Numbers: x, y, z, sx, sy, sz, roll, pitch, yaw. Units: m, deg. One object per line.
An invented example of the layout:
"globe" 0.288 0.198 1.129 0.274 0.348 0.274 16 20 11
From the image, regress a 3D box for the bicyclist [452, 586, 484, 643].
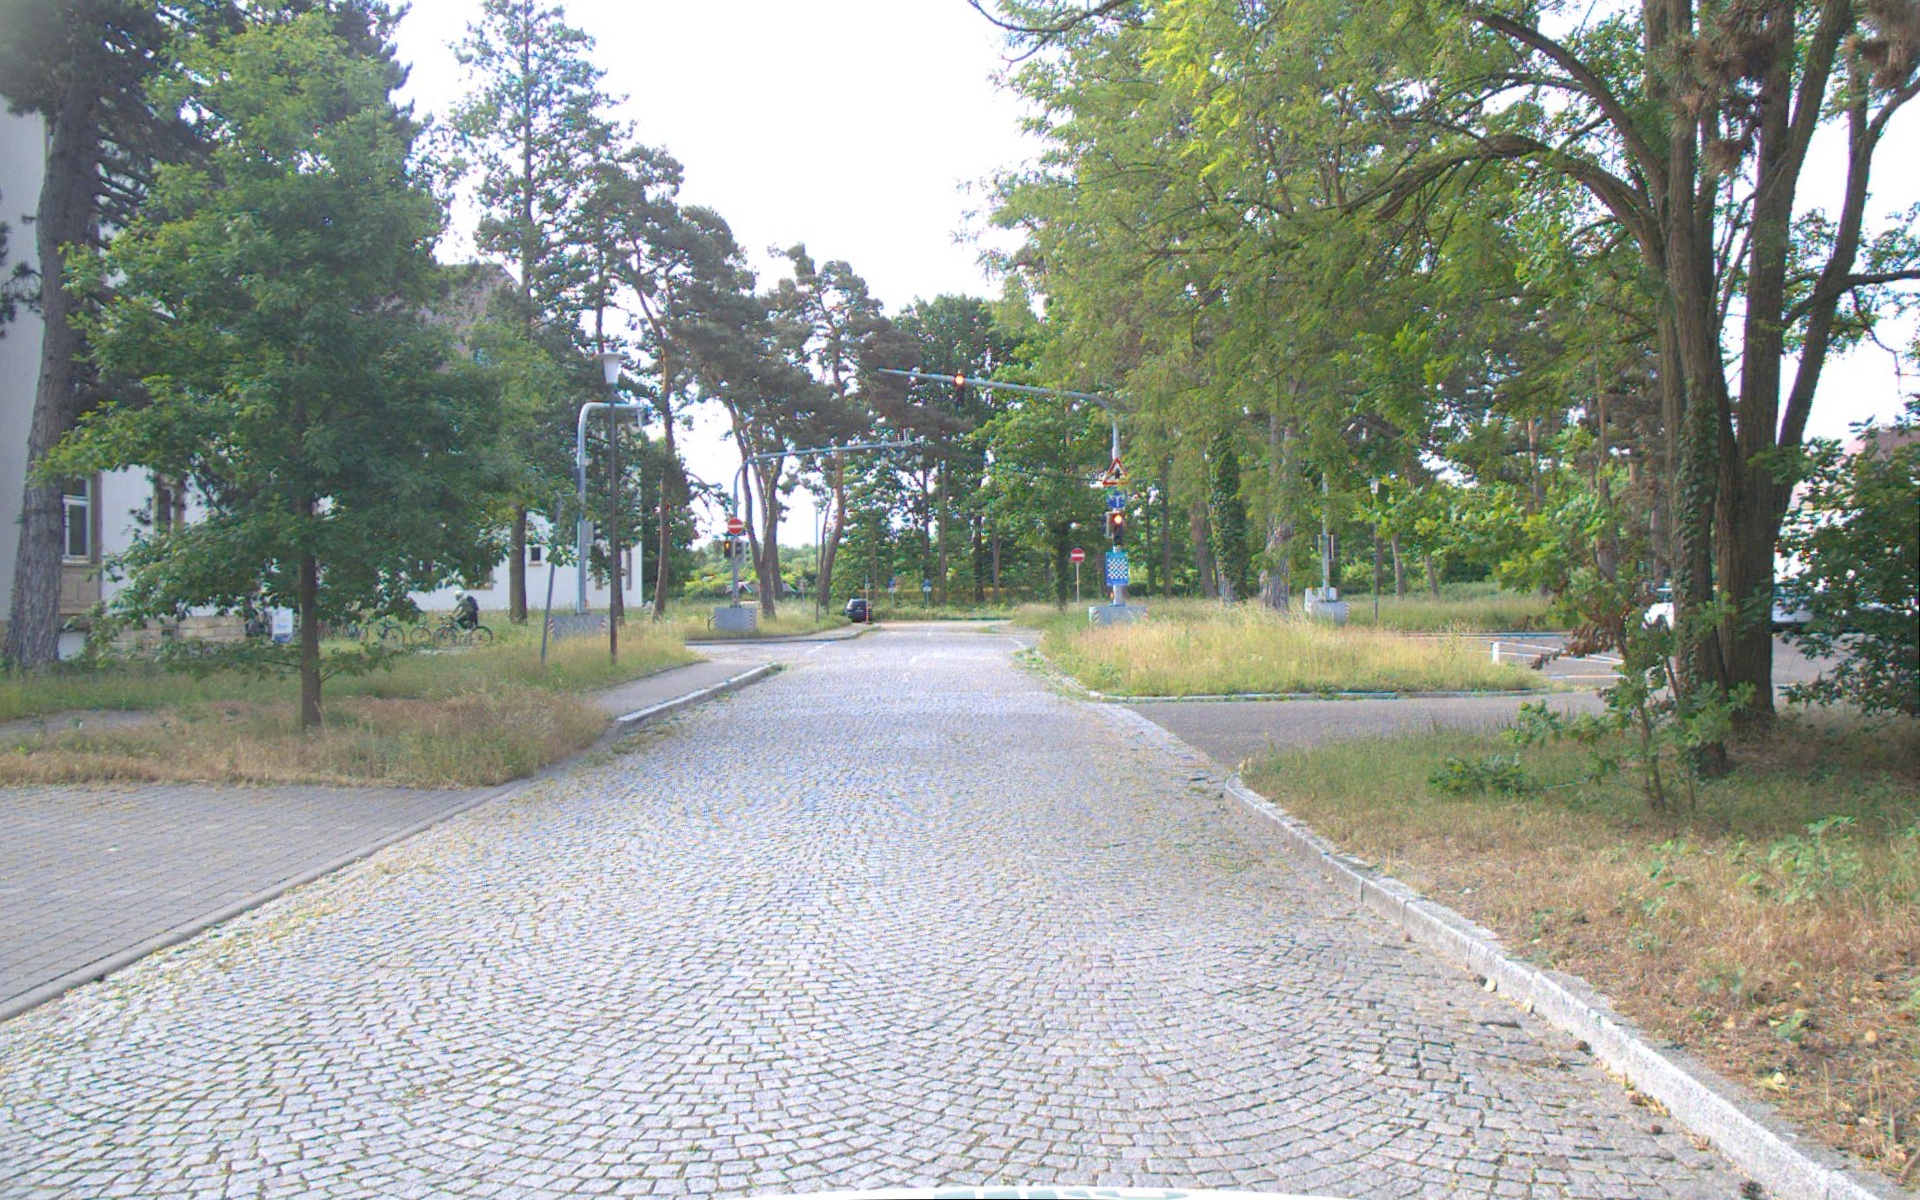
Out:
"bicyclist" -15.142 0.437 50.874 0.905 1.727 0.953 -1 -1 -16

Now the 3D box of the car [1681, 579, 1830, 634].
"car" 23.146 0.232 48.311 1.954 1.507 4.421 -1 -1 -4

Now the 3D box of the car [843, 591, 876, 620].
"car" -6.749 0.337 111.193 2.014 1.878 3.999 -1 0 -2

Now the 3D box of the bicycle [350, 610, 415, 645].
"bicycle" -18.728 0.892 53.634 1.818 1.095 0.738 -1 0 1

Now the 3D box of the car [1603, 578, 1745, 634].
"car" 20.681 0.198 48.092 1.954 1.507 4.421 -1 -1 -4

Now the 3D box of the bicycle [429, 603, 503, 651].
"bicycle" -15.180 0.820 50.858 2.144 1.411 0.934 -1 0 -17

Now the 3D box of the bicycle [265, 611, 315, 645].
"bicycle" -22.353 0.930 55.213 0.721 1.095 2.273 -1 0 0

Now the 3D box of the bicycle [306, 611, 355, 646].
"bicycle" -20.831 0.931 54.772 0.721 1.095 2.273 -1 0 0

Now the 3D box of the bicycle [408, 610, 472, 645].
"bicycle" -16.877 0.881 53.702 1.818 1.095 0.831 -1 0 1

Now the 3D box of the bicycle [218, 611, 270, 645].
"bicycle" -23.700 0.916 54.770 0.721 1.095 2.273 -1 0 0

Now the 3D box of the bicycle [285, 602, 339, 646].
"bicycle" -21.566 0.788 55.116 0.721 1.410 2.711 -1 0 0

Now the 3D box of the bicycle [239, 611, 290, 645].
"bicycle" -22.980 0.912 54.710 0.721 1.095 2.273 -1 0 0

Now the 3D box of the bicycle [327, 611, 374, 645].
"bicycle" -20.202 0.917 54.862 0.721 1.095 2.273 -1 0 0
